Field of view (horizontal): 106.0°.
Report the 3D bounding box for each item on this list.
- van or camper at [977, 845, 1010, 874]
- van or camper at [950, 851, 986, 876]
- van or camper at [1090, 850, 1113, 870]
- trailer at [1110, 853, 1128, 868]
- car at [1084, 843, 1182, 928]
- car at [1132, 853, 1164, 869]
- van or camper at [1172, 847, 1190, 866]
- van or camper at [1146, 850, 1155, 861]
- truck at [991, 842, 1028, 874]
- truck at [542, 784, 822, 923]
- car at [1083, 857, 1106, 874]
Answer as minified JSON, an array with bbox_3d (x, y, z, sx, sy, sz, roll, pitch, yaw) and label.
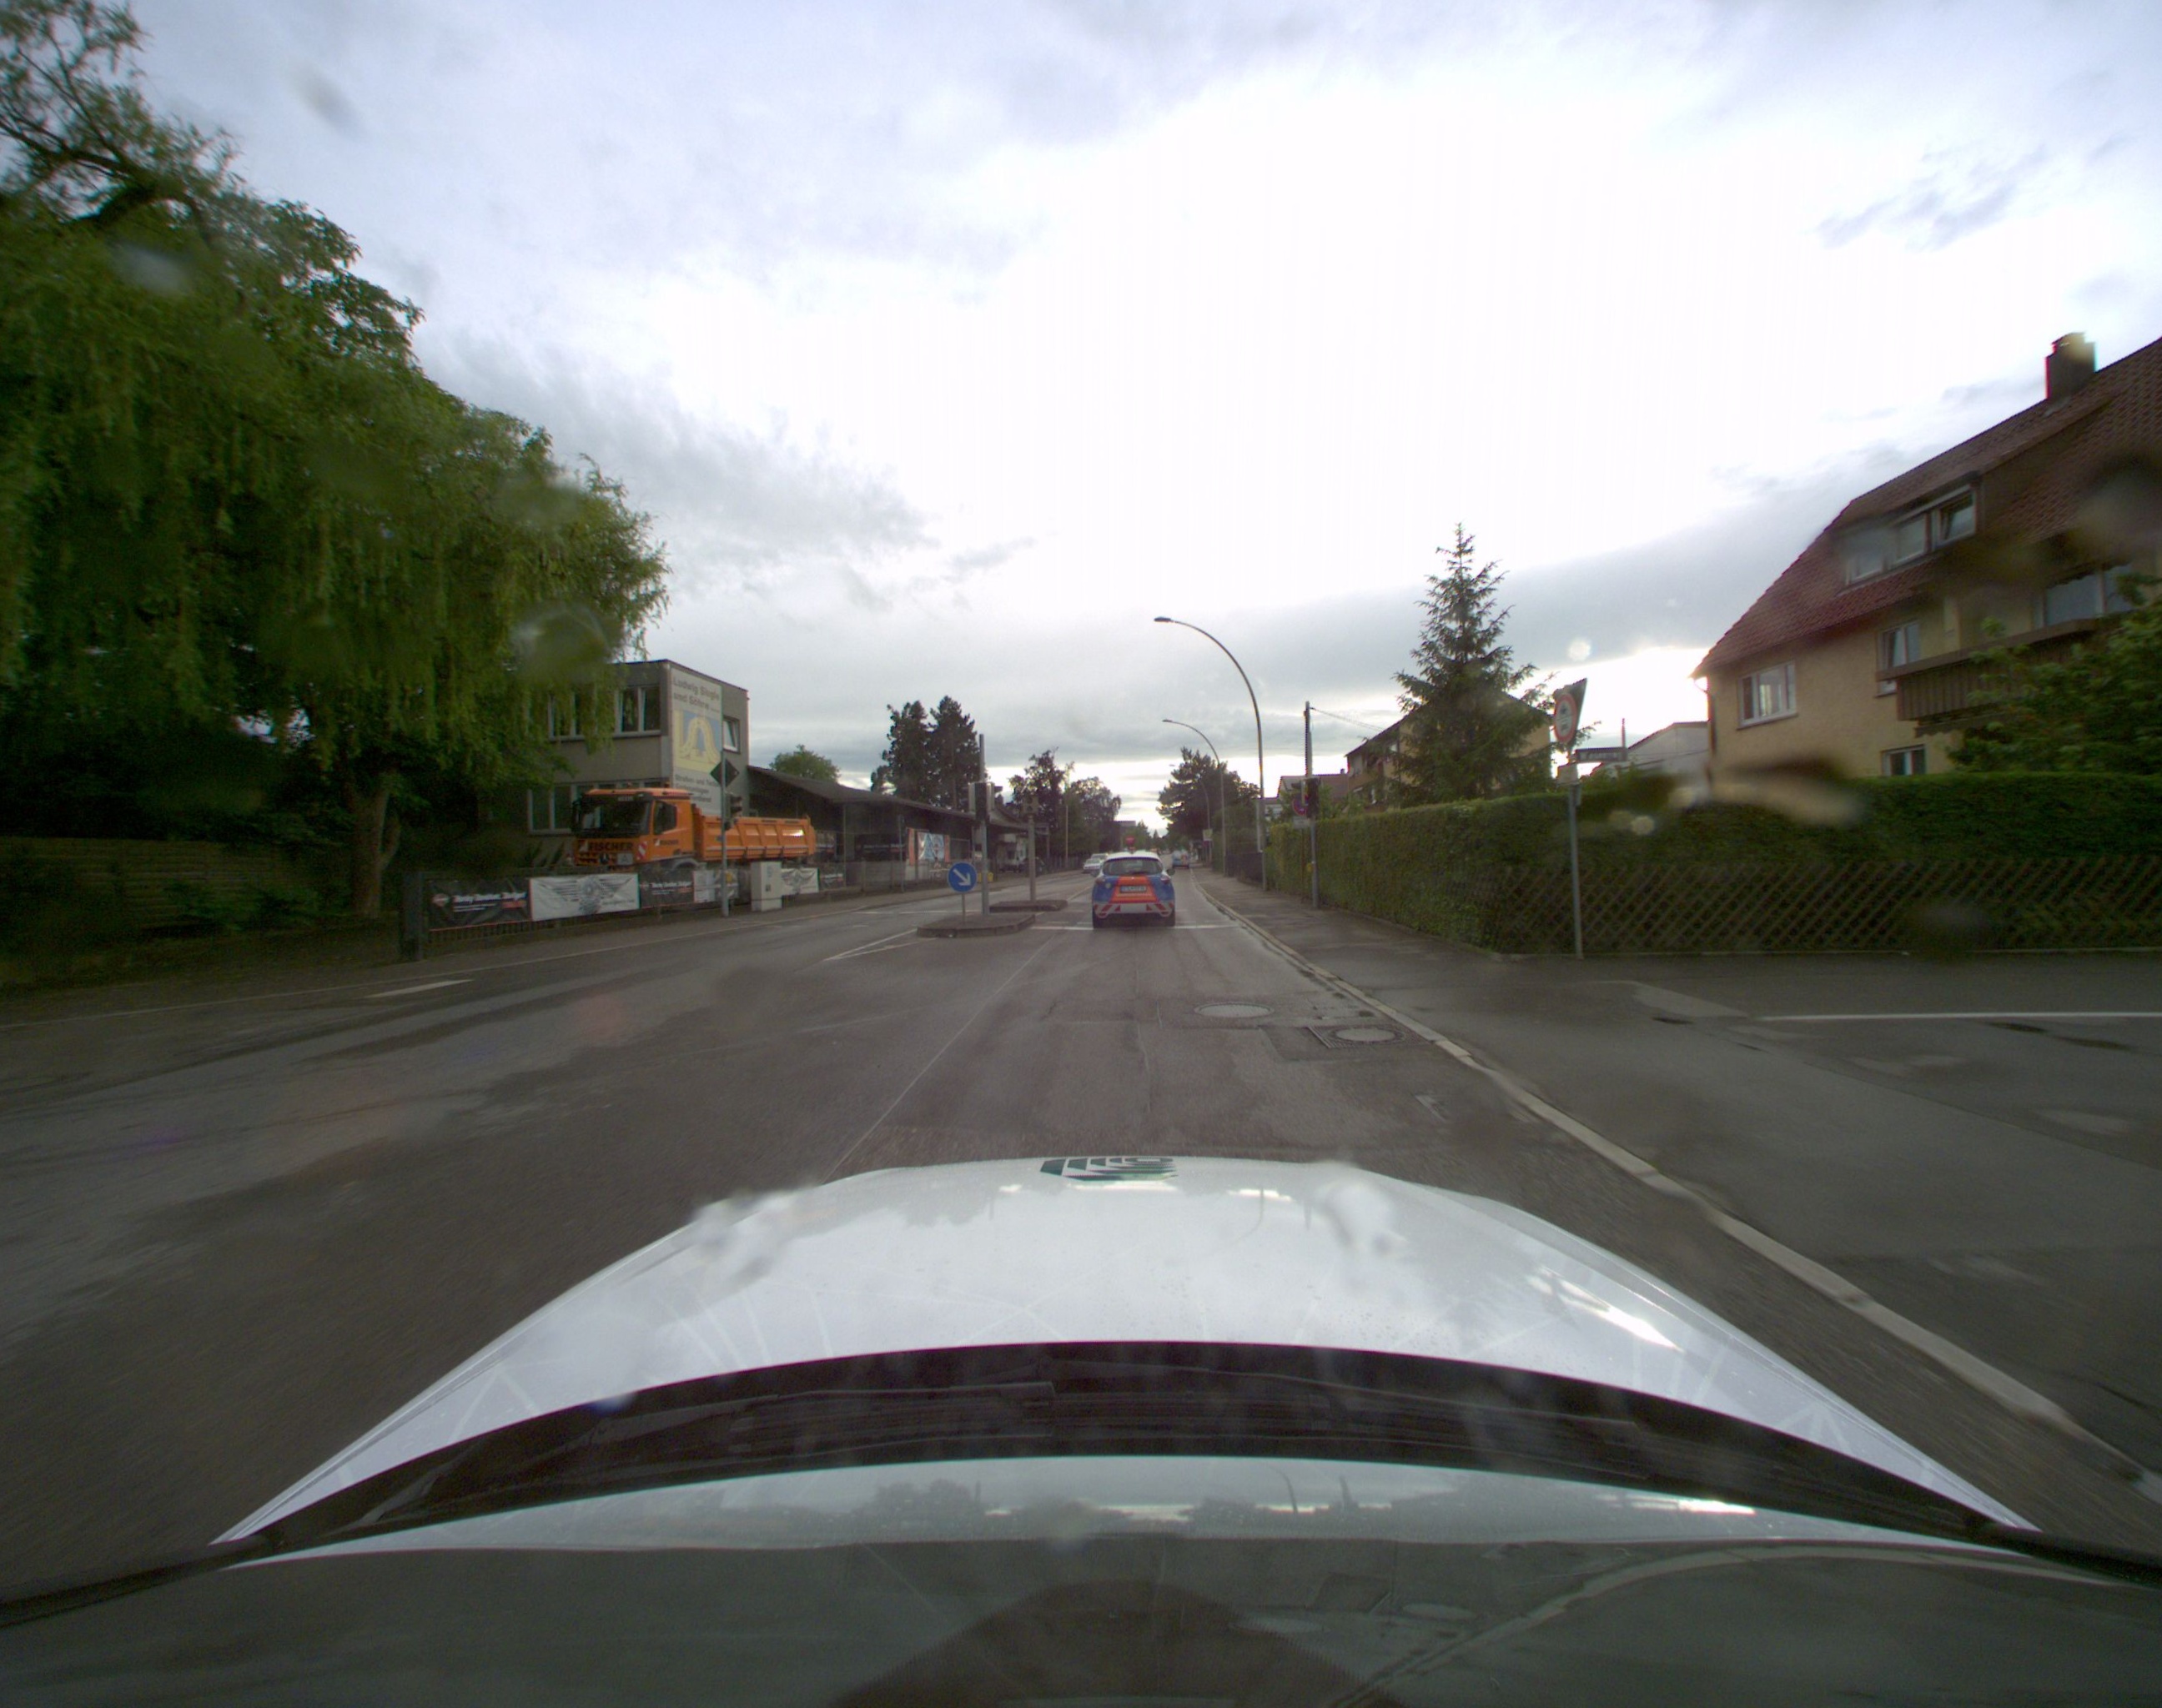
[{"bbox_3d":[-7.731,0.514,72.814,1.850,2.438,5.241,1,-2,5],"label":"van or camper"},{"bbox_3d":[-9.112,0.746,66.017,1.984,1.909,4.477,0,-1,5],"label":"van or camper"},{"bbox_3d":[2.236,0.584,87.589,1.881,2.013,5.106,-2,0,6],"label":"van or camper"},{"bbox_3d":[5.348,0.936,114.380,2.209,2.014,4.442,0,-2,5],"label":"trailer"},{"bbox_3d":[1.163,0.630,18.165,1.880,1.632,4.004,-2,0,4],"label":"car"},{"bbox_3d":[6.591,0.683,80.075,1.996,1.420,3.981,-2,0,-13],"label":"car"},{"bbox_3d":[10.469,0.292,85.150,1.745,1.883,4.006,-2,0,6],"label":"van or camper"},{"bbox_3d":[17.883,0.287,208.853,1.984,2.775,5.449,-2,0,6],"label":"van or camper"},{"bbox_3d":[-6.824,0.402,78.486,2.382,2.927,5.968,0,-1,7],"label":"truck"},{"bbox_3d":[-11.295,0.147,24.573,2.681,3.412,9.094,0,-2,10],"label":"truck"},{"bbox_3d":[1.363,1.199,80.945,1.733,1.480,4.192,-4,-3,7],"label":"car"}]
